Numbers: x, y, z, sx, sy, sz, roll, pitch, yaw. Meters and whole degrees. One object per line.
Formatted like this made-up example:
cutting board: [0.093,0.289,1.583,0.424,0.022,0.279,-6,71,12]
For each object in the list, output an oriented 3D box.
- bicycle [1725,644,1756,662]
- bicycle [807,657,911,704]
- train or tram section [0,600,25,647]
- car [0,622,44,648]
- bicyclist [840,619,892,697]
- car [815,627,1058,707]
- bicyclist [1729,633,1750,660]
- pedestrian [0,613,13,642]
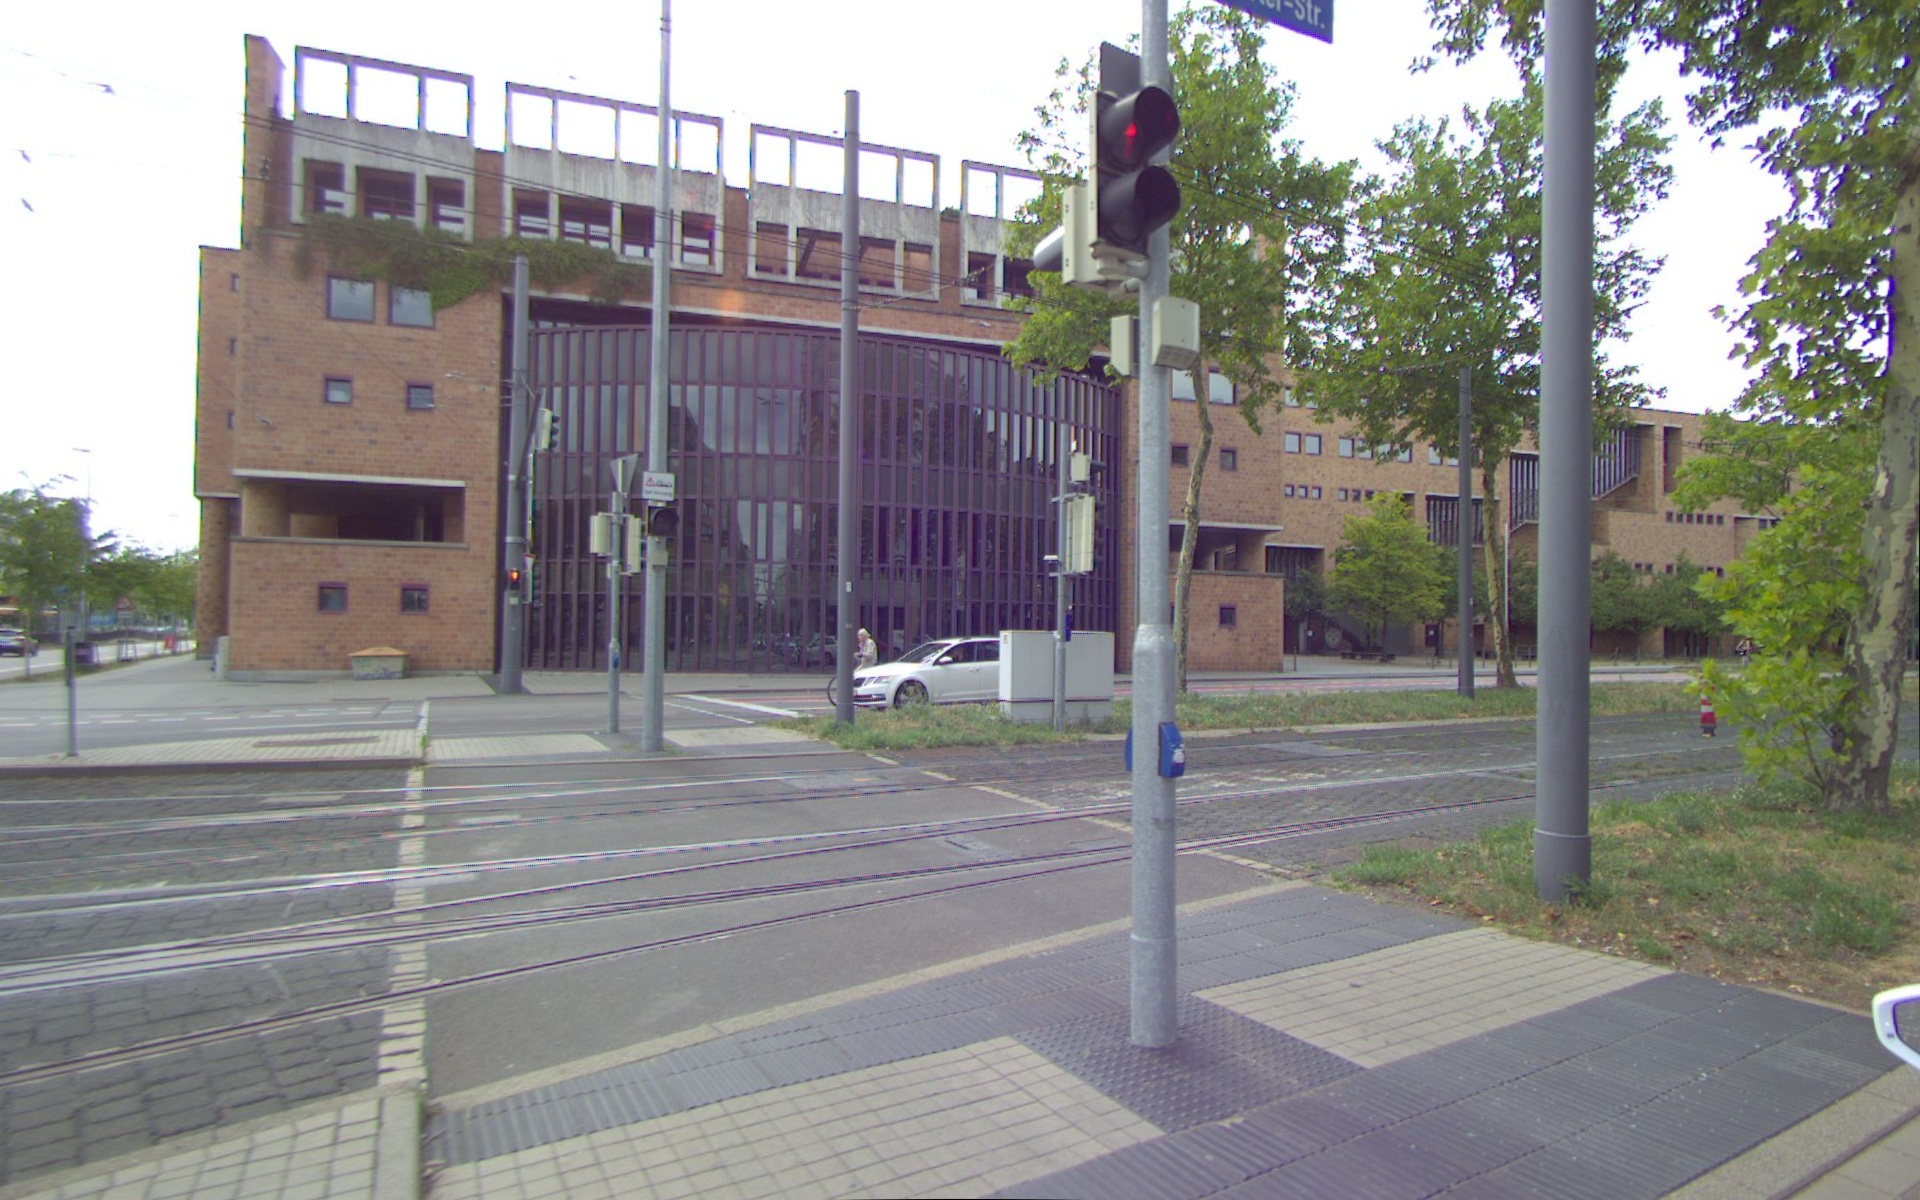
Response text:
bicycle: [47.843,3.226,61.588,2.066,1.098,0.666,1,-1,-26]
bicycle: [-2.136,1.697,21.420,2.099,0.929,0.726,2,-2,-31]
train or tram section: [-72.683,1.721,74.718,2.423,3.496,9.531,1,-2,-30]
car: [-55.093,1.991,58.328,1.912,1.450,4.267,2,-2,-31]
bicyclist: [-2.013,1.221,21.467,0.891,1.631,0.719,1,-2,-30]
car: [-0.421,1.284,20.115,4.604,1.440,1.775,1,-2,-31]
bicyclist: [47.797,2.845,61.568,0.971,1.612,0.662,1,-1,-26]
pedestrian: [-68.097,1.972,71.433,0.771,2.040,1.220,1,-2,-30]
